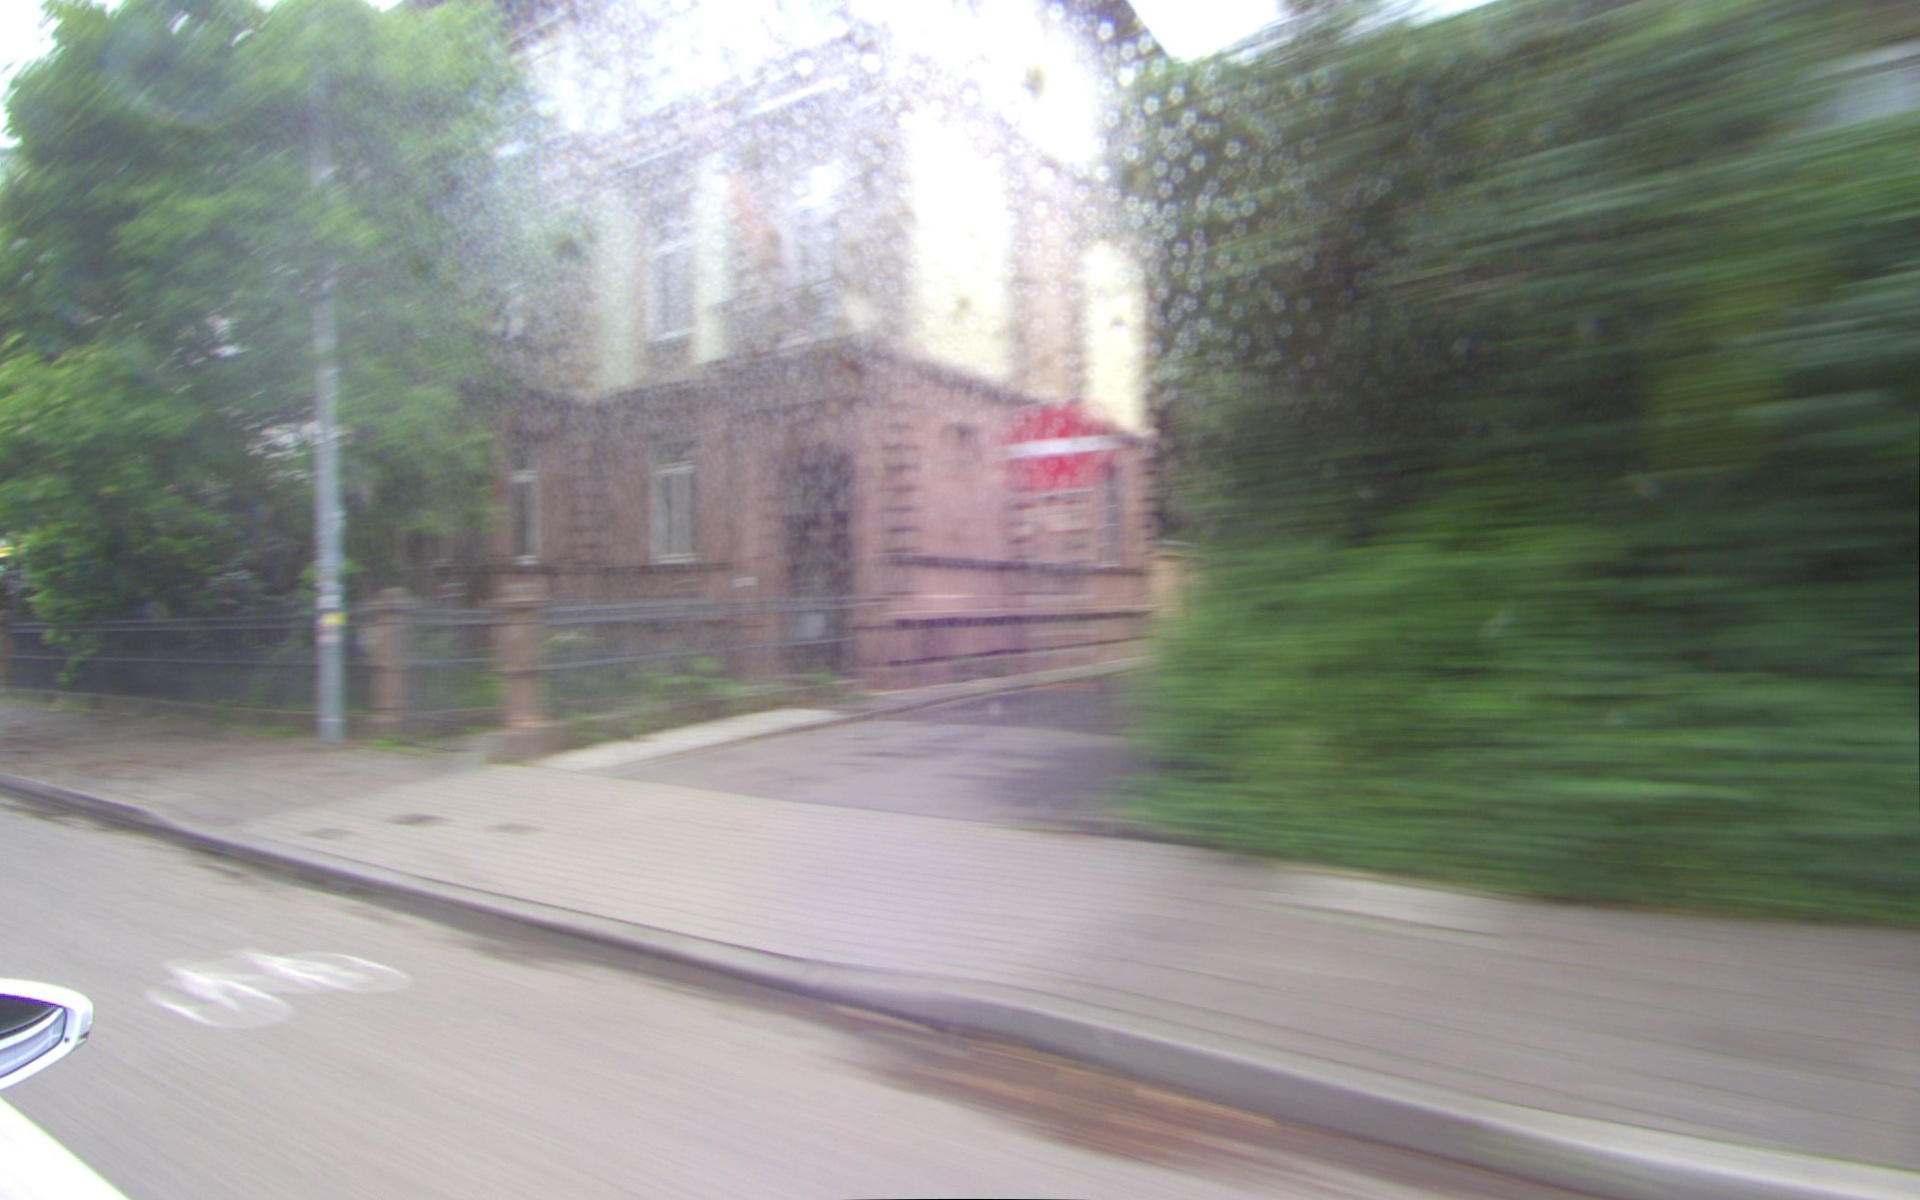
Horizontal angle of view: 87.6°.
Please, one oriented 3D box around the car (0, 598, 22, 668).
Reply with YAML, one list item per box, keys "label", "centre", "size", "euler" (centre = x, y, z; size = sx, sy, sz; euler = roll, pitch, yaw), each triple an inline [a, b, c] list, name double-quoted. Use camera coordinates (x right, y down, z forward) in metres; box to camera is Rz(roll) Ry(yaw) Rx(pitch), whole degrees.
- label: "car"
  centre: [-27.202, 0.934, 25.676]
  size: [1.798, 1.834, 4.267]
  euler: [0, 2, 34]
